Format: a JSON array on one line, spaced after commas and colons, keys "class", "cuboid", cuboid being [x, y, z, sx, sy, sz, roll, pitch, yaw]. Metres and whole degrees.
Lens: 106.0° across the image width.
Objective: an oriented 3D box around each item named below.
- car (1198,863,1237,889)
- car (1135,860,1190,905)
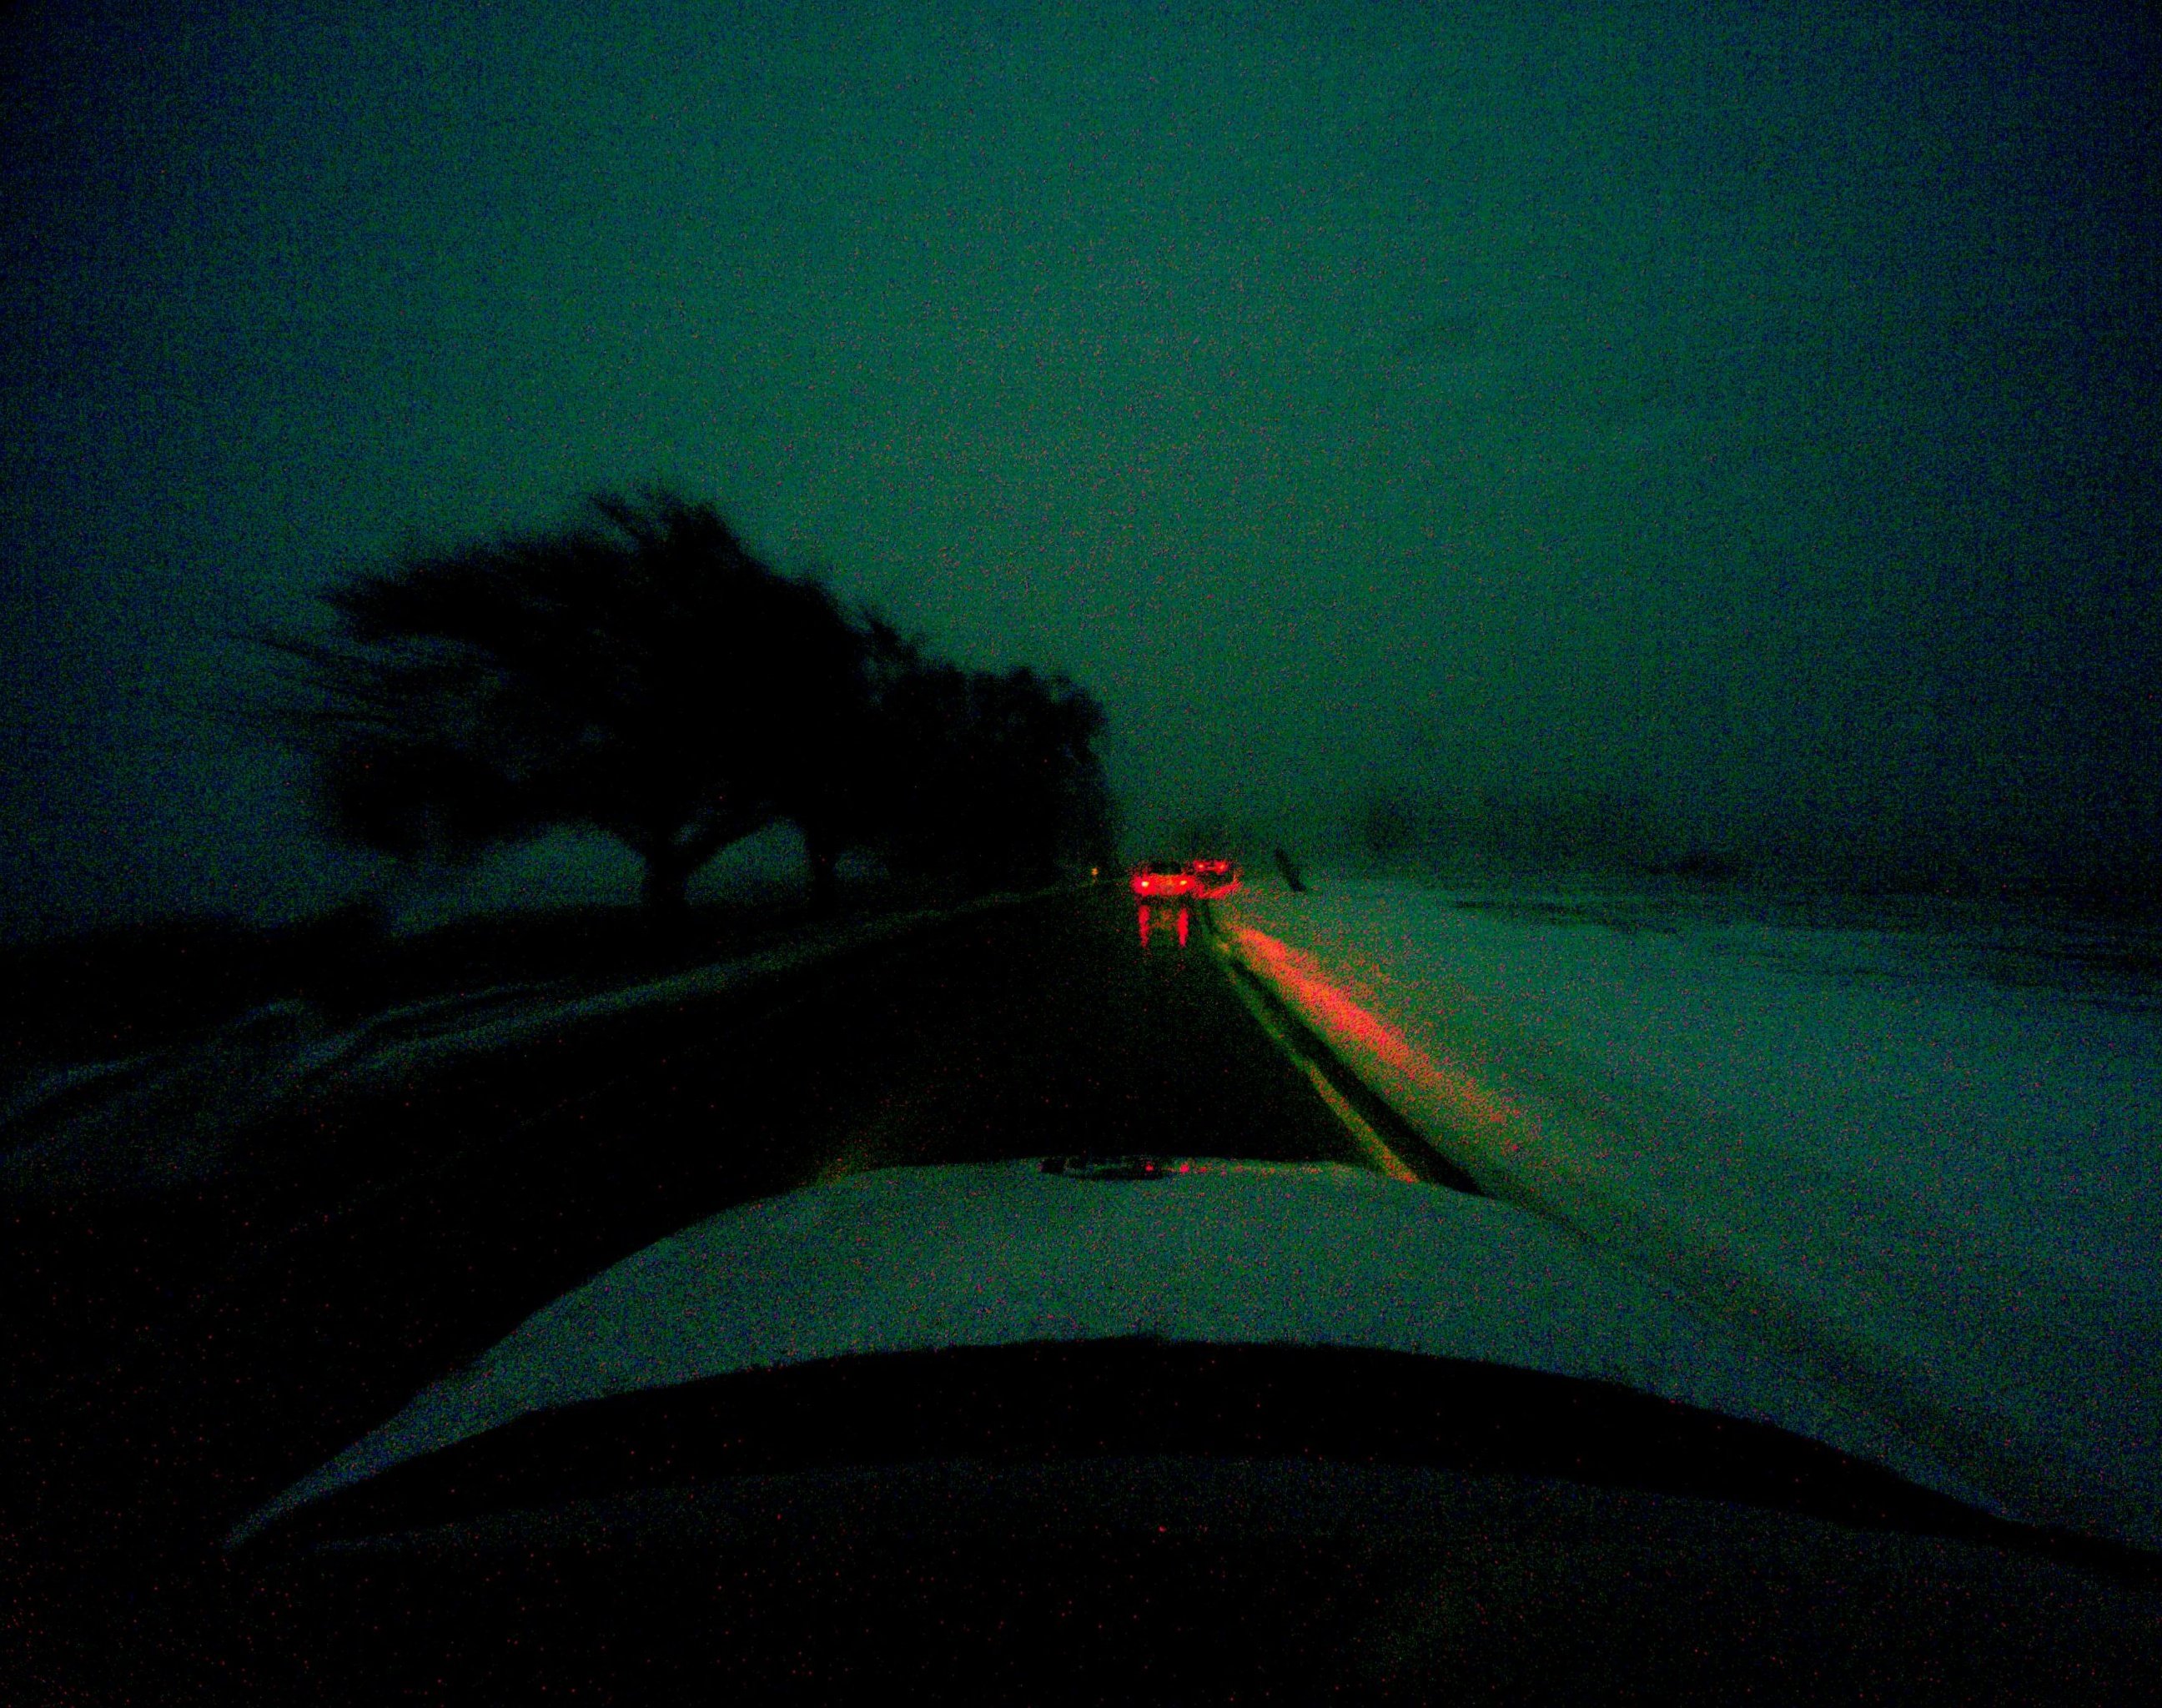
[{"class": "car", "cuboid": [8.540, 1.373, 50.777, 1.465, 1.508, 3.071, -2, -1, 27]}, {"class": "car", "cuboid": [2.816, 0.962, 28.865, 1.700, 1.463, 4.002, 1, 0, 2]}]
